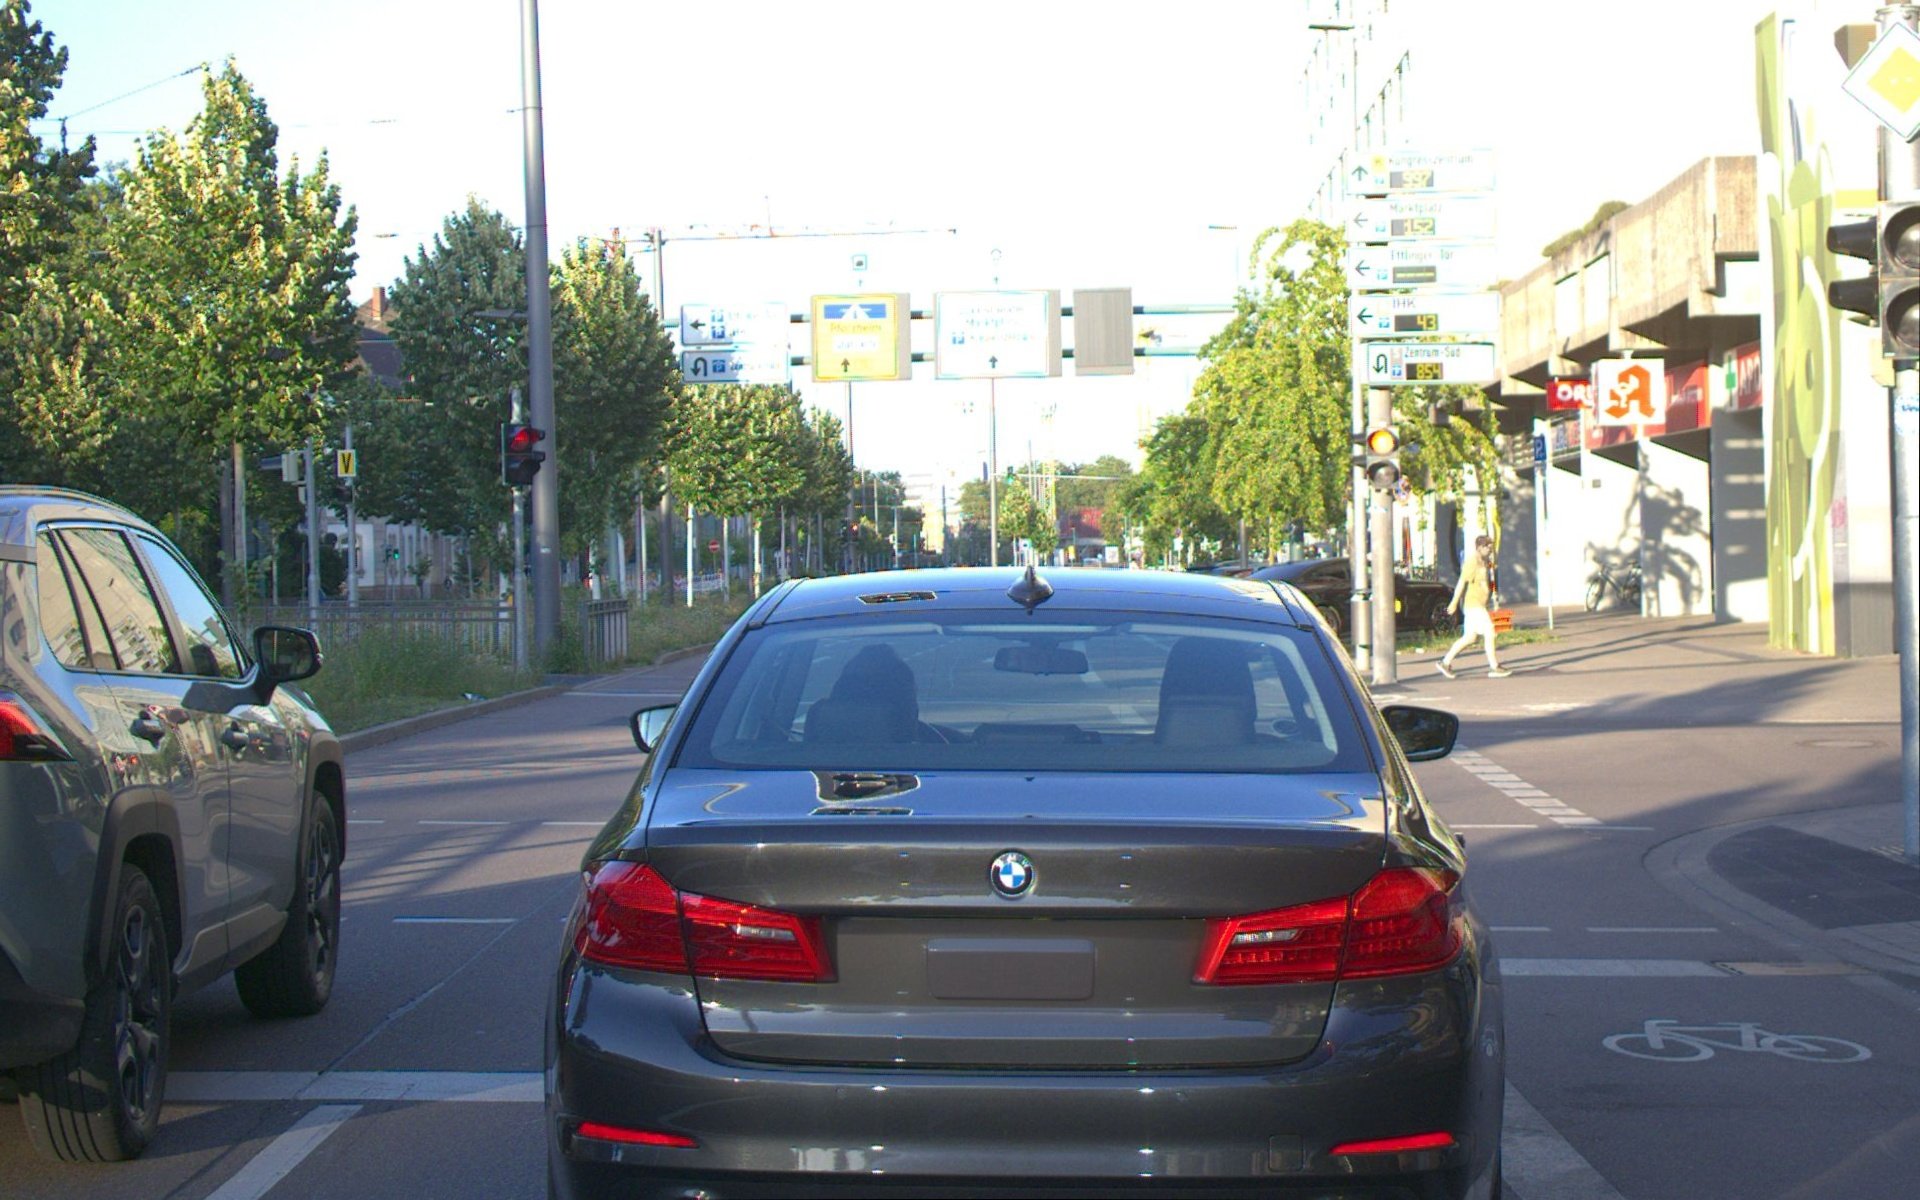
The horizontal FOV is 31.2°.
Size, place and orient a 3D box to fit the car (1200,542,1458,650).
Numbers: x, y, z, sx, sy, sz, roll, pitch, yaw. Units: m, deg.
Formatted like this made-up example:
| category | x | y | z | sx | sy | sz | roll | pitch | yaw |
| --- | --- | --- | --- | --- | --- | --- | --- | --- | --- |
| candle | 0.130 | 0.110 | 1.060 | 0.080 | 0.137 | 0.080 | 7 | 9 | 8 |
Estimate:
| category | x | y | z | sx | sy | sz | roll | pitch | yaw |
| --- | --- | --- | --- | --- | --- | --- | --- | --- | --- |
| car | 6.098 | -0.100 | 56.614 | 4.256 | 1.653 | 1.860 | -2 | 3 | -42 |

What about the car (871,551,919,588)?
| category | x | y | z | sx | sy | sz | roll | pitch | yaw |
| --- | --- | --- | --- | --- | --- | --- | --- | --- | --- |
| car | -2.750 | -1.314 | 146.930 | 1.979 | 1.428 | 4.843 | 0 | 2 | 0 |

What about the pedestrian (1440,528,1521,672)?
| category | x | y | z | sx | sy | sz | roll | pitch | yaw |
| --- | --- | --- | --- | --- | --- | --- | --- | --- | --- |
| pedestrian | 6.277 | -0.008 | 41.494 | 0.835 | 1.706 | 0.648 | -1 | 1 | -1 |

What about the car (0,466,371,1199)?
| category | x | y | z | sx | sy | sz | roll | pitch | yaw |
| --- | --- | --- | --- | --- | --- | --- | --- | --- | --- |
| car | -2.926 | 0.465 | 9.520 | 1.854 | 1.653 | 4.269 | 0 | 2 | 0 |

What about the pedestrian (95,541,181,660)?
| category | x | y | z | sx | sy | sz | roll | pitch | yaw |
| --- | --- | --- | --- | --- | --- | --- | --- | --- | --- |
| pedestrian | -11.150 | 0.000 | 46.630 | 0.835 | 1.581 | 0.811 | -1 | 1 | 11 |

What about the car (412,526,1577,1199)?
| category | x | y | z | sx | sy | sz | roll | pitch | yaw |
| --- | --- | --- | --- | --- | --- | --- | --- | --- | --- |
| car | 0.061 | 0.596 | 7.984 | 1.932 | 1.476 | 4.523 | 0 | 2 | 0 |

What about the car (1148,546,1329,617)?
| category | x | y | z | sx | sy | sz | roll | pitch | yaw |
| --- | --- | --- | --- | --- | --- | --- | --- | --- | --- |
| car | 6.912 | -0.473 | 85.138 | 4.255 | 1.653 | 1.860 | -1 | 2 | -35 |

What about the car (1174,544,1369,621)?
| category | x | y | z | sx | sy | sz | roll | pitch | yaw |
| --- | --- | --- | --- | --- | --- | --- | --- | --- | --- |
| car | 7.167 | -0.418 | 78.986 | 4.255 | 1.653 | 1.860 | -1 | 2 | -35 |
